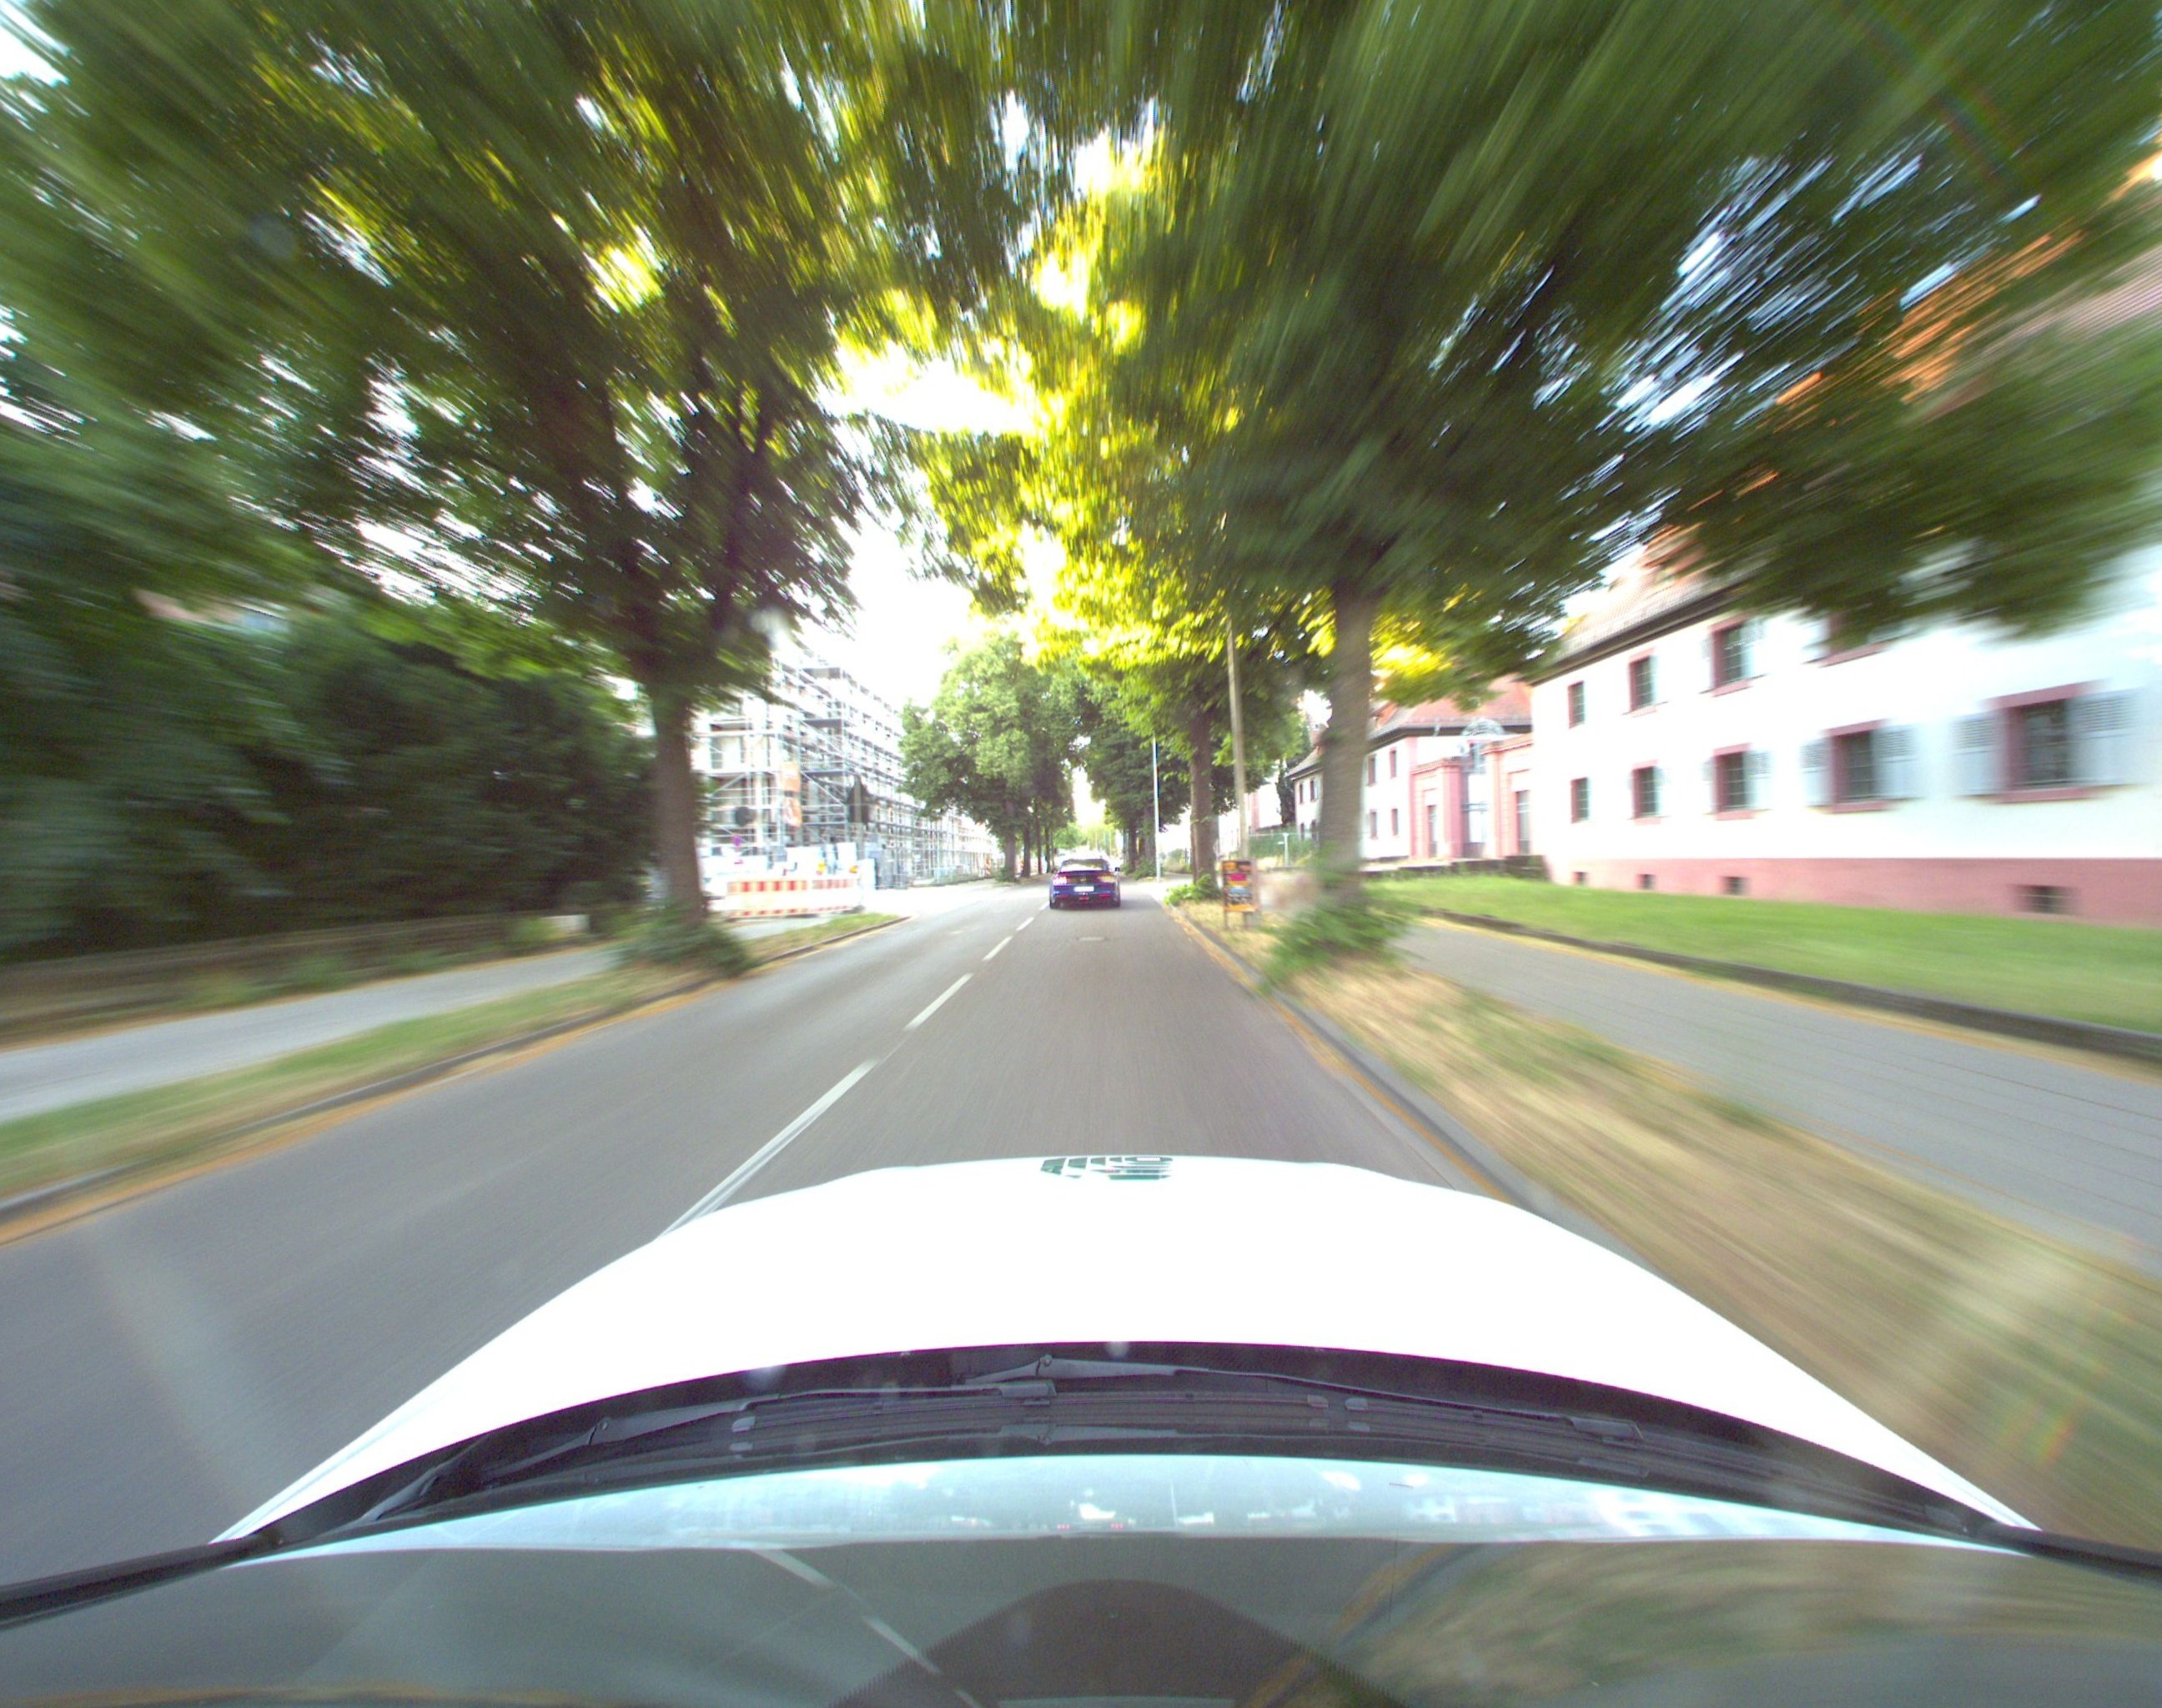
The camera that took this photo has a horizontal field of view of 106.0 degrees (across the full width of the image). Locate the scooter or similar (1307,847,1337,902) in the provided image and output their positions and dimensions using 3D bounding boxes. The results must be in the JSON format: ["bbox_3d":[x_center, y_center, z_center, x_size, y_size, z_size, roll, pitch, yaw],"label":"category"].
[{"bbox_3d":[5.862,0.491,19.810,0.238,1.276,1.265,-2,-1,-3],"label":"scooter or similar"}]

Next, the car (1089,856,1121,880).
[{"bbox_3d":[1.614,0.894,52.967,1.938,1.527,4.004,0,0,3],"label":"car"}]

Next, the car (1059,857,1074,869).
[{"bbox_3d":[-2.620,1.697,152.551,2.326,2.198,5.313,-2,0,3],"label":"car"}]

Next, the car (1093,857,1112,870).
[{"bbox_3d":[2.371,0.995,88.888,1.938,1.326,4.004,0,0,3],"label":"car"}]

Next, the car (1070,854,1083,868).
[{"bbox_3d":[-0.847,1.374,163.855,2.483,2.697,5.831,-2,0,1],"label":"car"}]

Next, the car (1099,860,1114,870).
[{"bbox_3d":[3.550,1.540,113.757,1.940,1.326,4.001,0,0,1],"label":"car"}]

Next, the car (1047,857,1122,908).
[{"bbox_3d":[0.139,0.749,23.095,1.940,1.326,4.001,0,0,1],"label":"car"}]
